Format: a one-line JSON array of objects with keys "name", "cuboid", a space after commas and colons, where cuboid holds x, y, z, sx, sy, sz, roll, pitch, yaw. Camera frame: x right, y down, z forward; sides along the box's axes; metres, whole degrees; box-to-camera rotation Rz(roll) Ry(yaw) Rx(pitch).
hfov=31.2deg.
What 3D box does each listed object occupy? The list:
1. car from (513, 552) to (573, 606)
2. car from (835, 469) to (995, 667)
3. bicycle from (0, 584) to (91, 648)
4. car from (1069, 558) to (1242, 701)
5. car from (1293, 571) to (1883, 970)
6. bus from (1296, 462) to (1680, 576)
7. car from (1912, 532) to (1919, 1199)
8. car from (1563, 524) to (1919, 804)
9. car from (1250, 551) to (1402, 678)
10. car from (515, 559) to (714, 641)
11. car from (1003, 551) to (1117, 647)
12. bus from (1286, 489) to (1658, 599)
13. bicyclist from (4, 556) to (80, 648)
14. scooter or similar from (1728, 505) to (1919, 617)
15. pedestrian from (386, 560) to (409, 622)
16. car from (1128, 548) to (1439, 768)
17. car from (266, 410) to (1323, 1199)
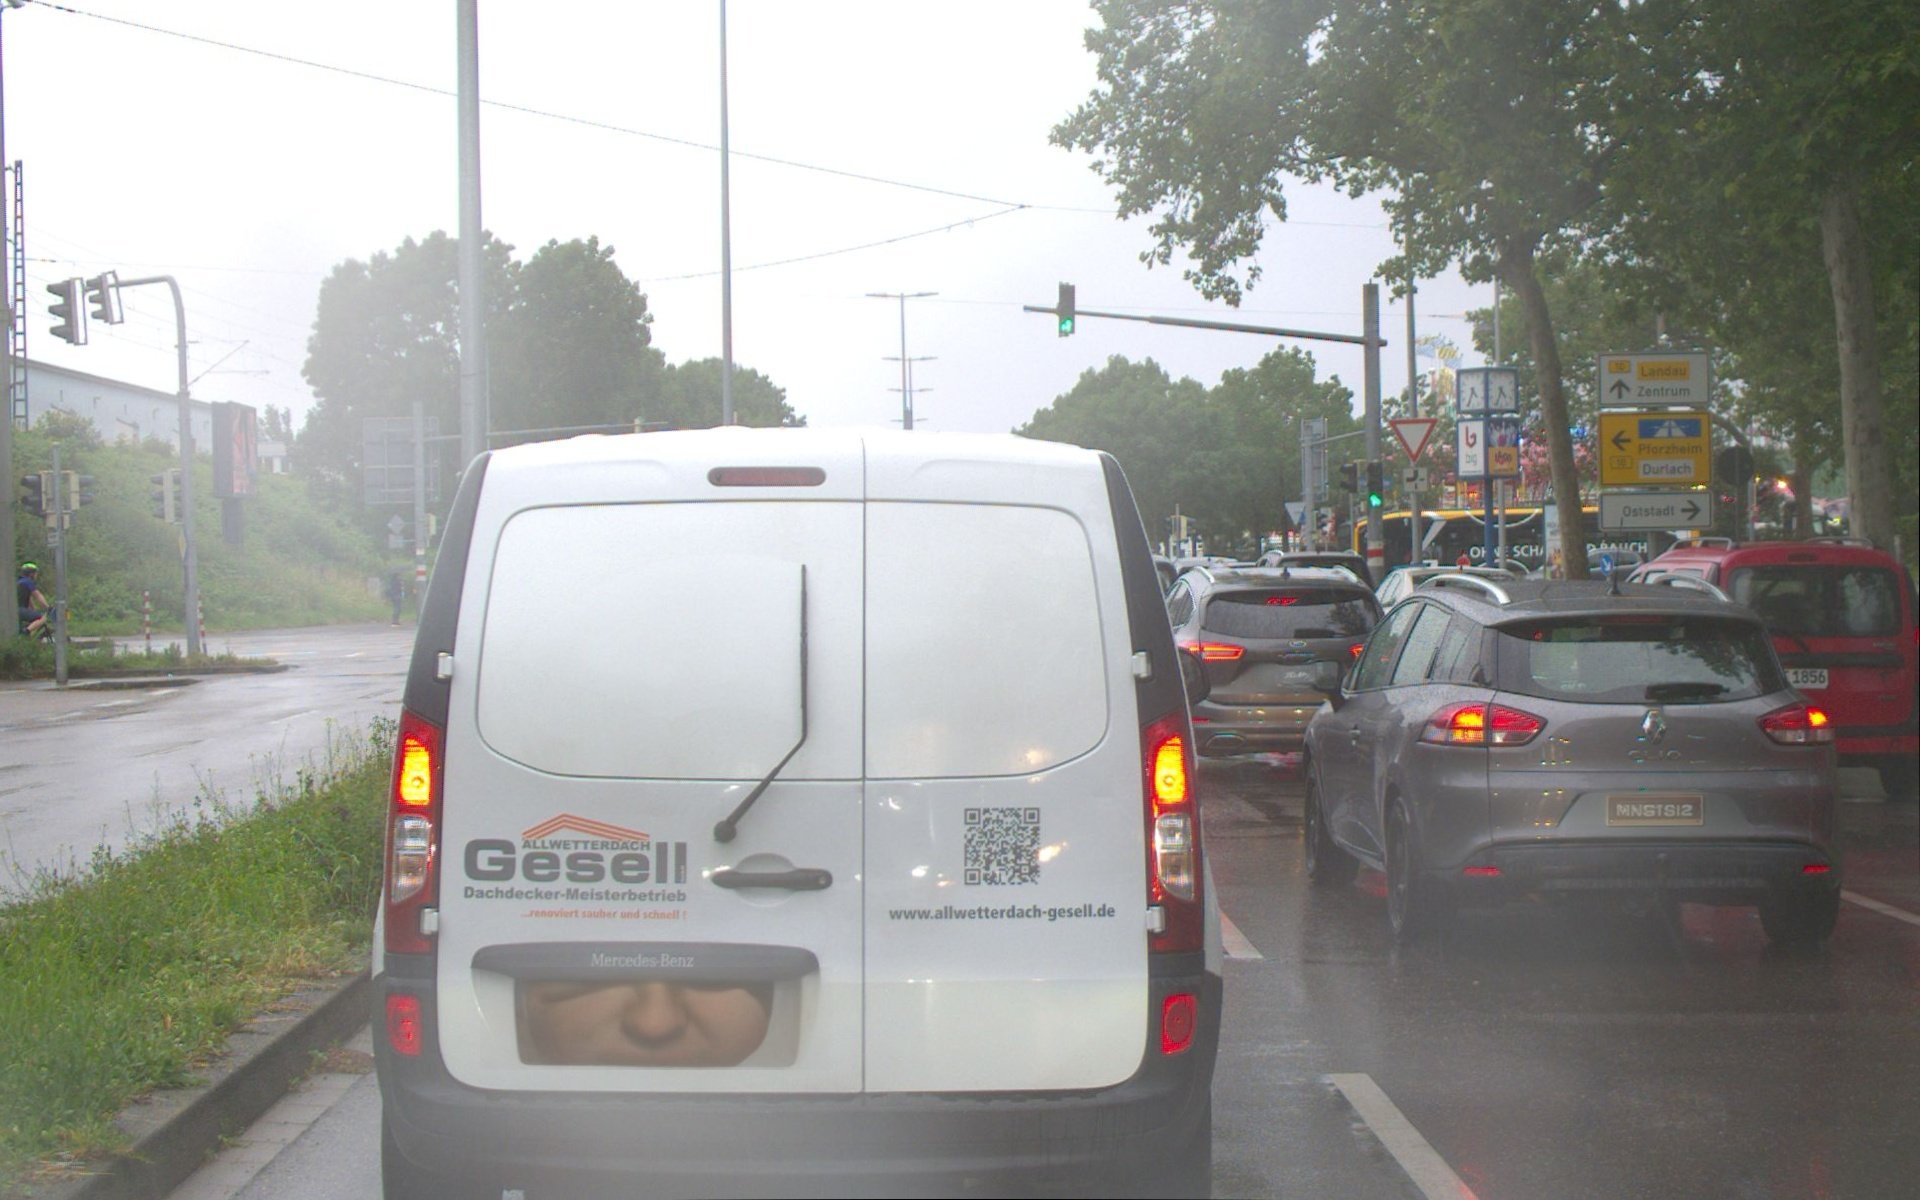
[{"name": "car", "cuboid": [-12.880, -0.663, 106.319, 1.468, 1.554, 3.508, -1, 1, -1]}, {"name": "car", "cuboid": [-0.543, -0.408, 41.786, 1.854, 2.288, 3.843, 0, 1, -1]}, {"name": "bicycle", "cuboid": [-14.838, 0.249, 55.510, 1.040, 0.949, 2.889, -2, 2, -25]}, {"name": "car", "cuboid": [2.342, 0.322, 42.028, 1.854, 1.644, 3.843, 0, 1, -1]}, {"name": "car", "cuboid": [2.484, 0.609, 14.501, 1.683, 1.403, 3.843, 1, 1, -1]}, {"name": "bus", "cuboid": [16.948, -2.626, 110.826, 11.970, 3.411, 2.315, -1, 1, 0]}, {"name": "car", "cuboid": [2.971, 0.663, 5.350, 1.747, 1.549, 4.091, 0, 1, -1]}, {"name": "car", "cuboid": [5.319, 0.389, 23.095, 1.710, 1.688, 4.272, 1, 0, -1]}, {"name": "car", "cuboid": [5.179, 0.172, 49.050, 1.708, 1.722, 3.843, 0, 1, -1]}, {"name": "car", "cuboid": [-7.075, 0.004, 70.232, 3.824, 1.538, 1.995, -2, 0, 44]}, {"name": "car", "cuboid": [1.741, -0.032, 60.688, 1.854, 1.644, 3.843, 0, 0, -1]}, {"name": "bus", "cuboid": [17.058, -1.875, 114.807, 11.969, 3.411, 2.483, -1, 1, -4]}, {"name": "bicyclist", "cuboid": [-14.801, 0.018, 55.416, 1.040, 1.445, 0.729, -2, 1, -25]}, {"name": "scooter or similar", "cuboid": [19.976, -0.882, 77.006, 1.890, 2.437, 5.316, -1, 1, -41]}, {"name": "pedestrian", "cuboid": [-15.711, -0.250, 96.047, 0.543, 1.710, 0.563, 1, 0, -4]}, {"name": "car", "cuboid": [2.262, 0.362, 24.969, 1.854, 1.455, 3.843, 0, 1, -1]}, {"name": "car", "cuboid": [-0.335, 0.487, 8.797, 1.993, 1.770, 4.585, 0, 1, -1]}]
